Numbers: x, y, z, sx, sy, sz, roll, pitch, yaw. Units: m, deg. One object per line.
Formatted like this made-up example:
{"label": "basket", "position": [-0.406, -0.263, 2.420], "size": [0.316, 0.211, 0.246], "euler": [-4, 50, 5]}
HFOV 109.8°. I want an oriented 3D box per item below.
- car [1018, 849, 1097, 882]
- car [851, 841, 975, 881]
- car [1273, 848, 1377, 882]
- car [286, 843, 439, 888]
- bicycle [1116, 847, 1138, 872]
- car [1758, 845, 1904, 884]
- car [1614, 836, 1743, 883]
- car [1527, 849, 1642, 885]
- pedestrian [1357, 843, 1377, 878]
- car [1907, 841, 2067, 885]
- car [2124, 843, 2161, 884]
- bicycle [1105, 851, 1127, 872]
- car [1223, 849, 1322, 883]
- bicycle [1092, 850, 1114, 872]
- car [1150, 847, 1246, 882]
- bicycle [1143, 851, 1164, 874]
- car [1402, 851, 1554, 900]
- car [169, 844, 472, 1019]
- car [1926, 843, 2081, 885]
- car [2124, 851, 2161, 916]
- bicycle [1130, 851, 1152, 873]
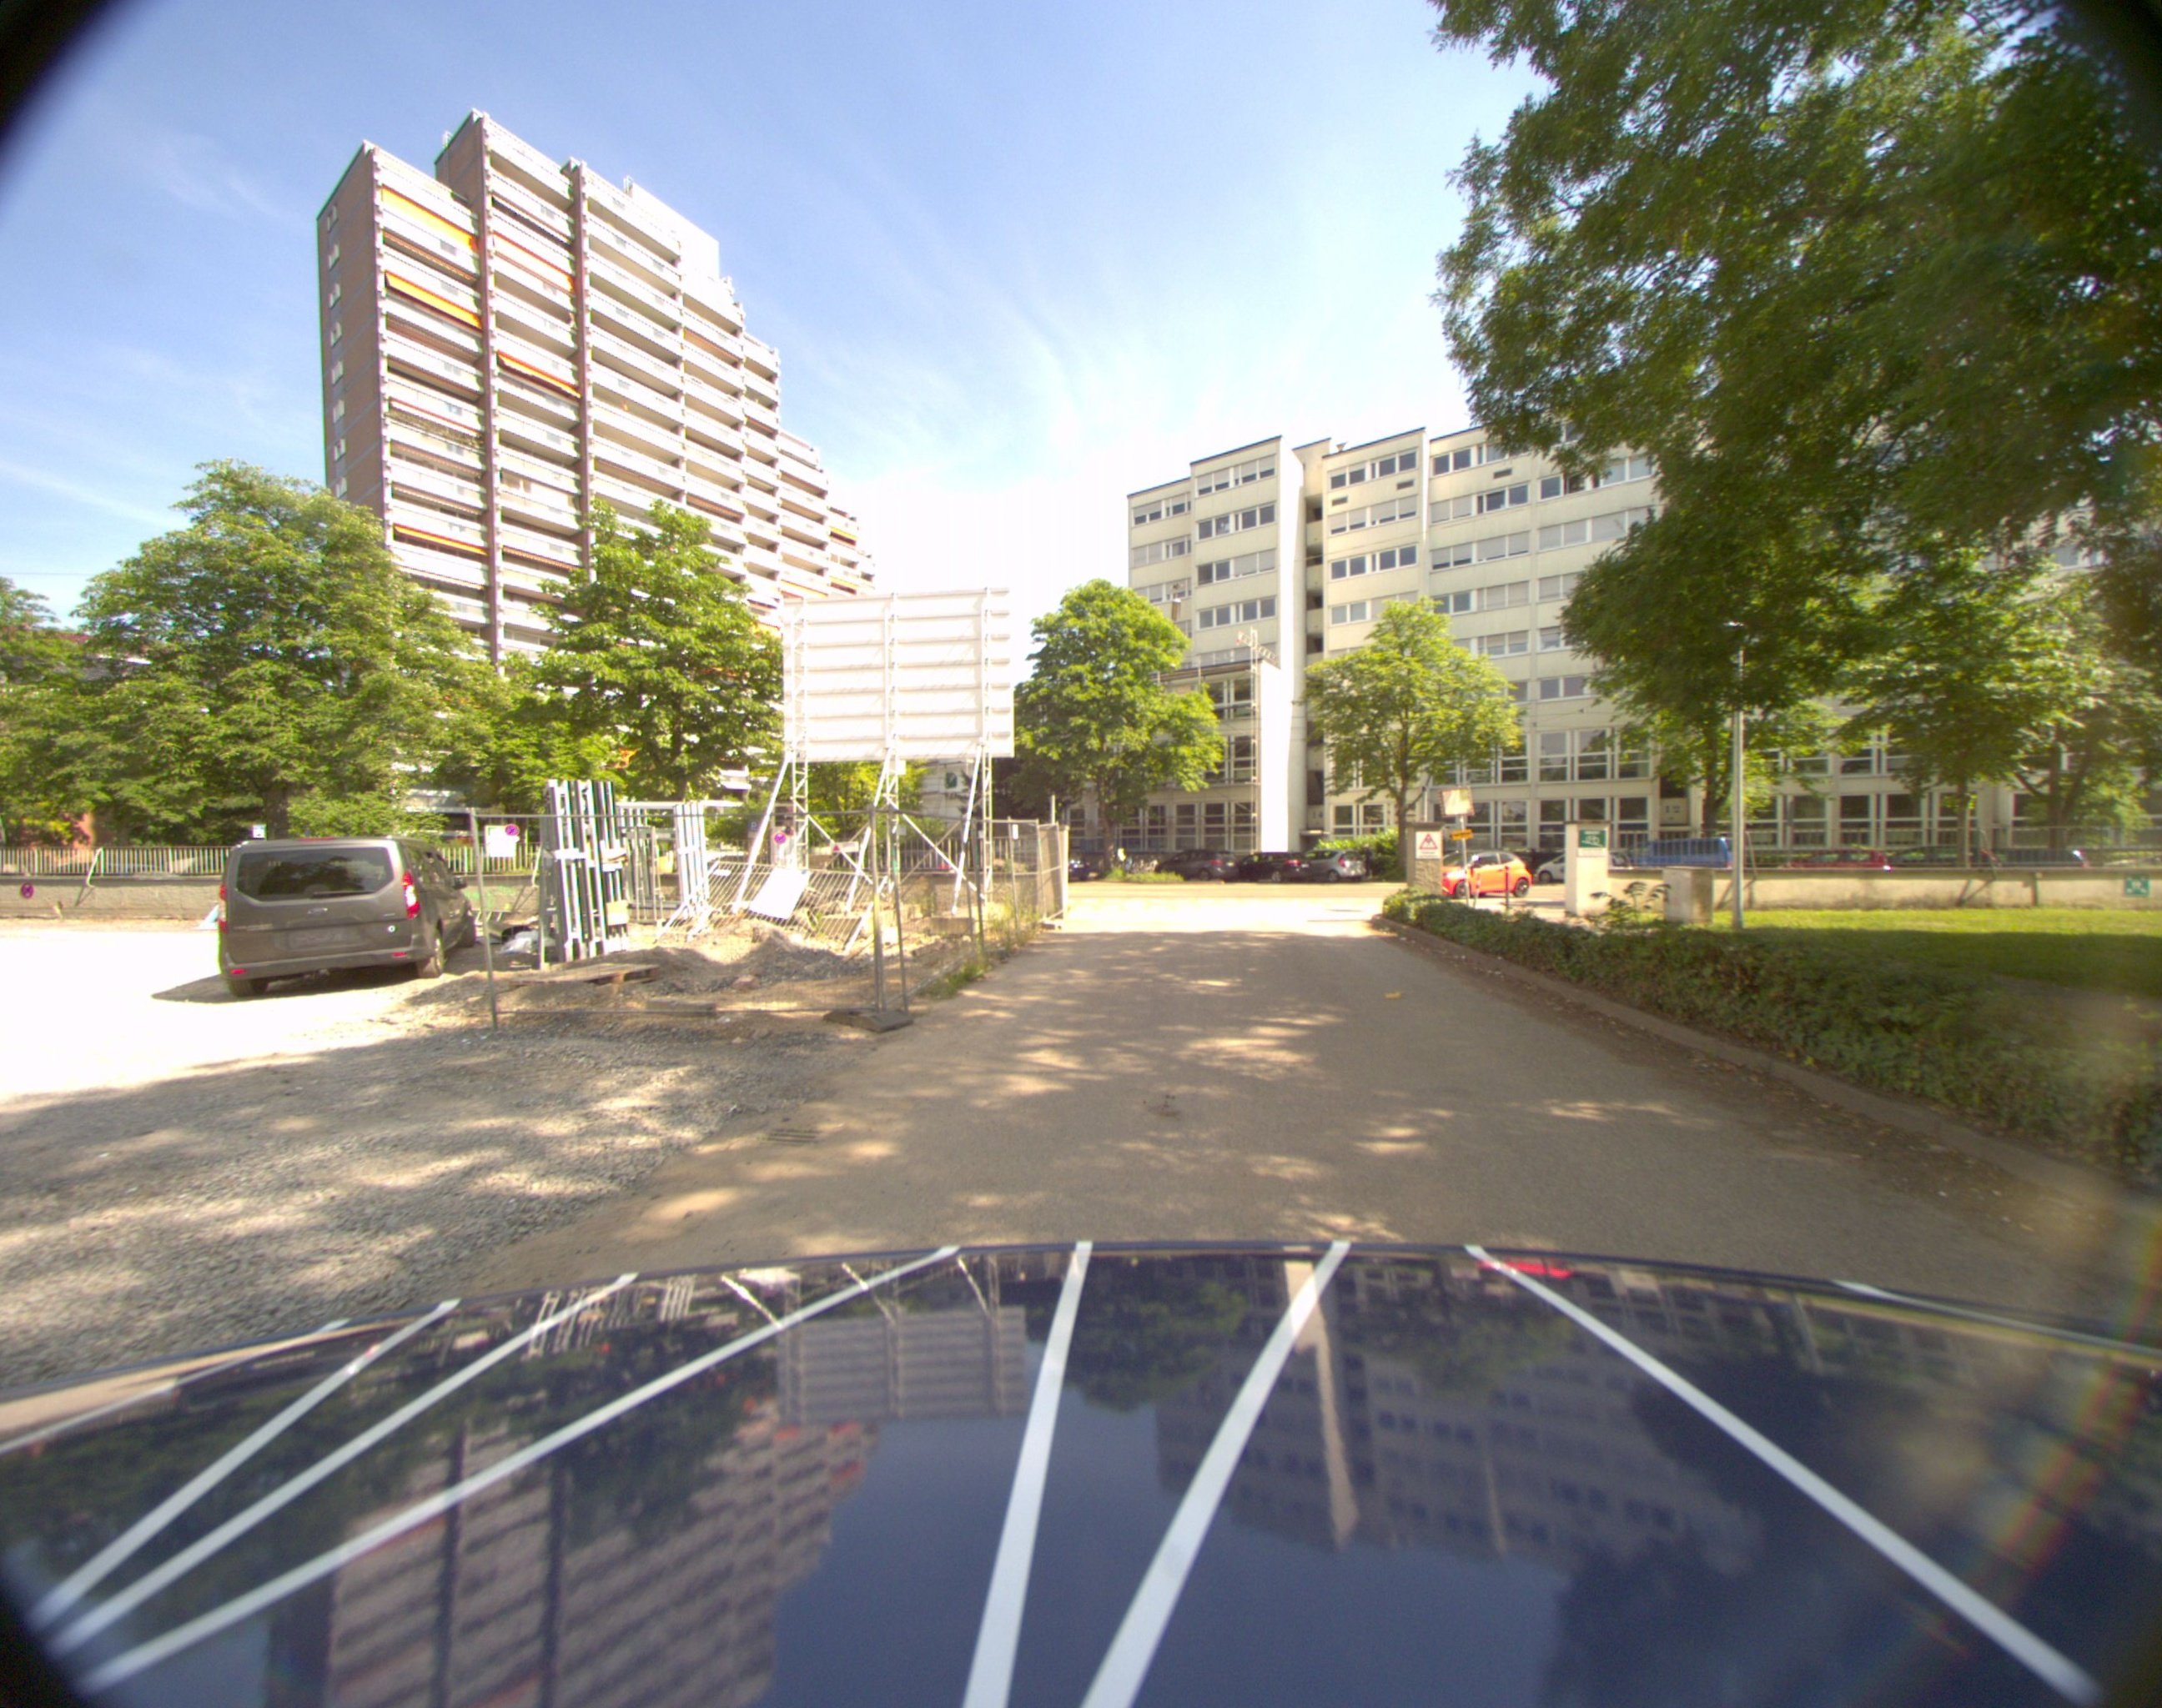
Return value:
{"label": "car", "position": [-1.168, 0.524, 36.319], "size": [1.657, 1.443, 3.989], "euler": [-1, 1, -40]}
{"label": "car", "position": [-6.634, 0.272, 30.280], "size": [4.384, 1.513, 1.944], "euler": [-1, 0, 7]}
{"label": "car", "position": [11.340, 0.467, 35.548], "size": [1.805, 1.477, 4.328], "euler": [-1, 1, -38]}
{"label": "car", "position": [-31.596, 0.493, 33.497], "size": [5.242, 1.934, 1.997], "euler": [0, 1, 7]}
{"label": "bicycle", "position": [2.636, 0.311, 43.317], "size": [0.488, 1.370, 2.020], "euler": [0, 1, 27]}
{"label": "car", "position": [31.553, 0.428, 32.064], "size": [1.786, 1.529, 4.208], "euler": [0, 0, -38]}
{"label": "car", "position": [25.424, 0.231, 32.441], "size": [1.791, 1.895, 3.989], "euler": [0, 0, -38]}
{"label": "car", "position": [21.983, 0.524, 33.321], "size": [1.712, 1.455, 3.841], "euler": [-1, 0, -27]}
{"label": "pedestrian", "position": [14.467, 0.316, 38.445], "size": [0.752, 1.766, 0.732], "euler": [0, 1, 6]}
{"label": "car", "position": [35.792, 0.363, 30.130], "size": [1.807, 1.630, 3.989], "euler": [0, 0, -38]}
{"label": "car", "position": [45.062, 0.375, 30.331], "size": [1.833, 1.652, 3.989], "euler": [-1, 1, -34]}
{"label": "bicycle", "position": [2.024, 0.422, 43.596], "size": [0.488, 1.193, 2.020], "euler": [0, 1, 27]}
{"label": "car", "position": [8.802, 0.507, 35.204], "size": [1.805, 1.467, 4.173], "euler": [-1, 1, -41]}
{"label": "bicycle", "position": [1.297, 0.396, 44.038], "size": [0.488, 1.193, 2.020], "euler": [0, 1, 25]}
{"label": "car", "position": [5.441, 0.468, 35.789], "size": [1.811, 1.556, 4.378], "euler": [-1, 1, -40]}
{"label": "bicycle", "position": [4.063, 0.464, 42.602], "size": [0.488, 1.193, 2.020], "euler": [0, 1, 27]}
{"label": "car", "position": [12.181, 0.629, 23.352], "size": [4.178, 1.404, 1.660], "euler": [0, 0, -17]}
{"label": "car", "position": [-9.722, 0.783, 10.187], "size": [1.925, 1.770, 4.301], "euler": [-3, 2, -33]}
{"label": "car", "position": [37.827, 0.404, 31.267], "size": [1.836, 1.630, 3.989], "euler": [0, 0, -38]}
{"label": "car", "position": [26.367, 0.642, 16.724], "size": [3.994, 1.467, 1.735], "euler": [-1, 0, 8]}
{"label": "bicycle", "position": [3.401, 0.442, 42.857], "size": [0.488, 1.193, 2.020], "euler": [0, 1, 27]}
